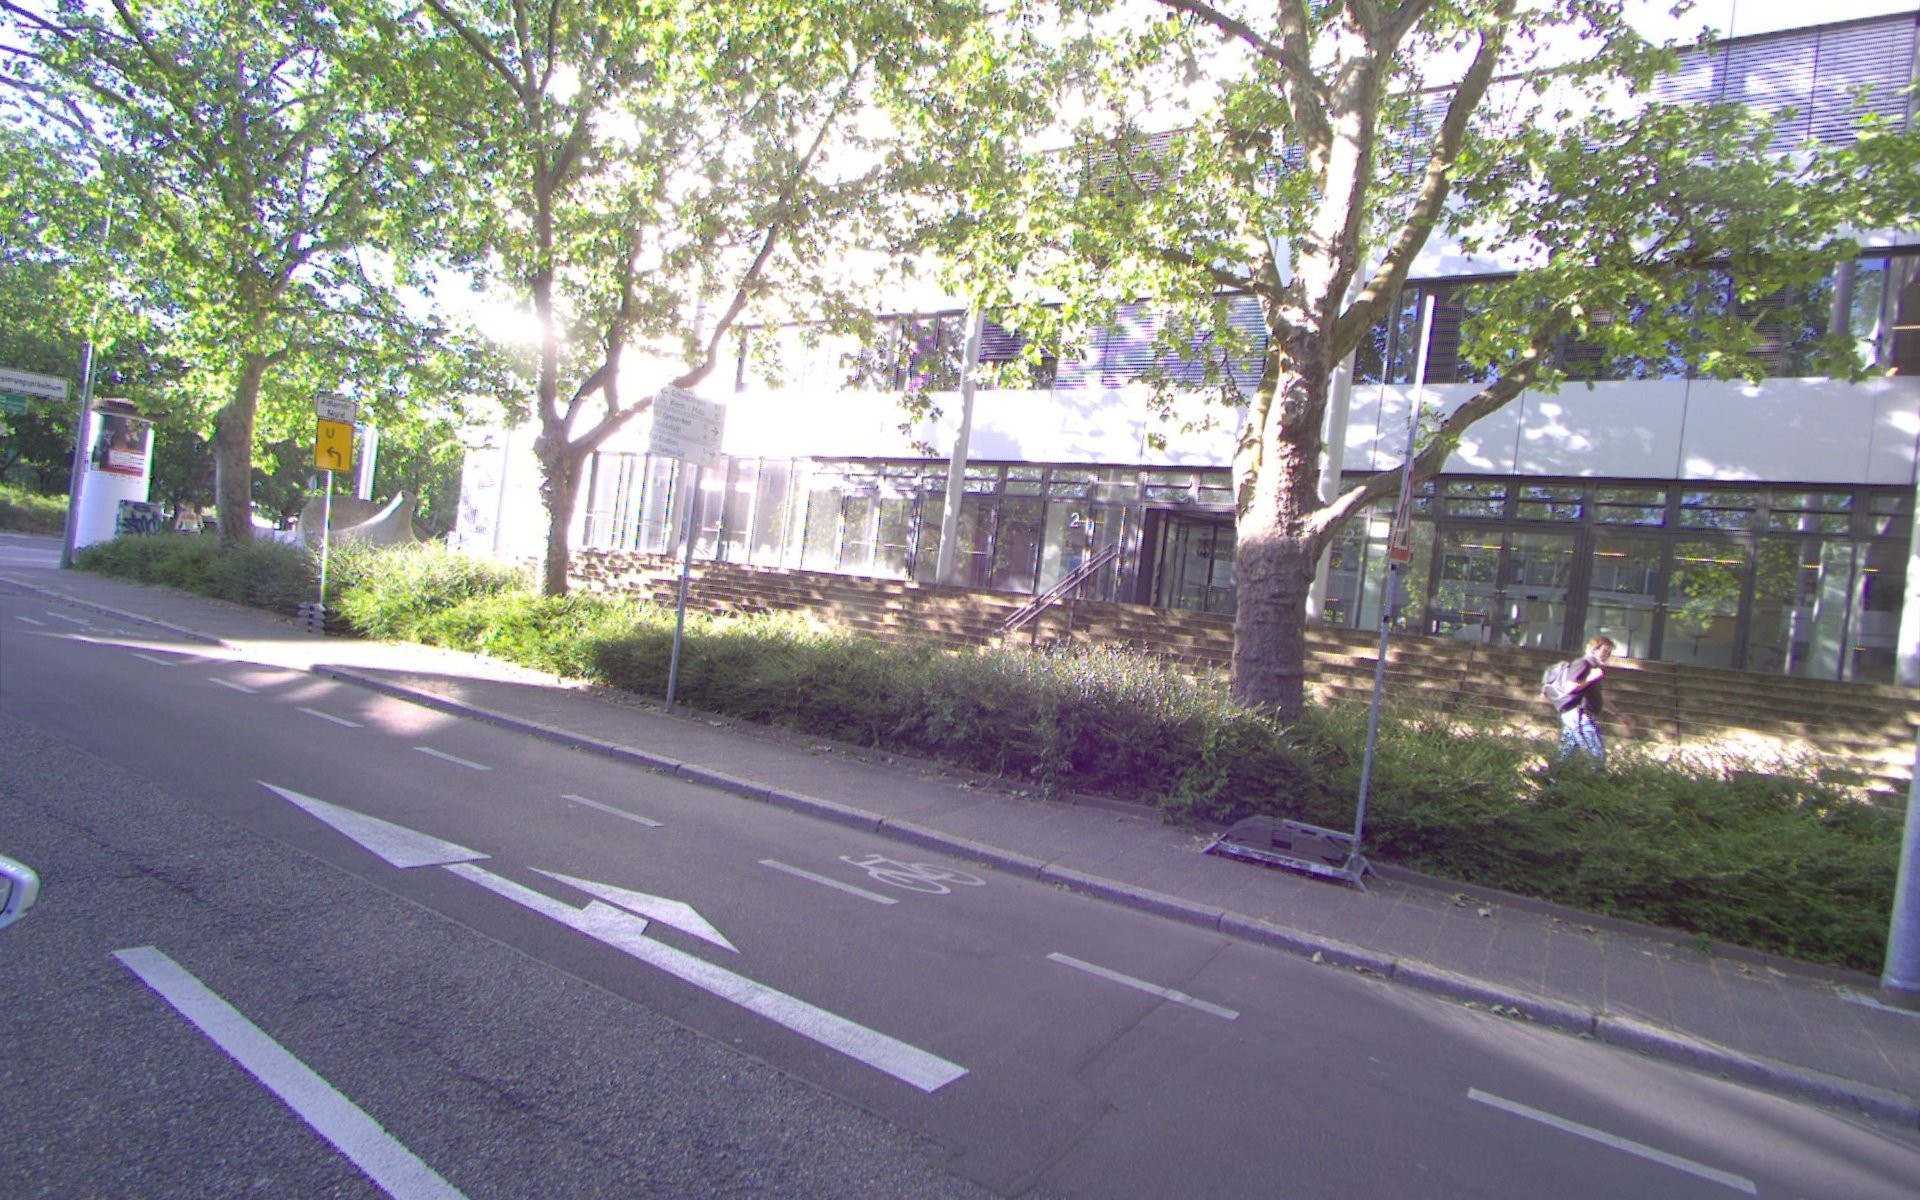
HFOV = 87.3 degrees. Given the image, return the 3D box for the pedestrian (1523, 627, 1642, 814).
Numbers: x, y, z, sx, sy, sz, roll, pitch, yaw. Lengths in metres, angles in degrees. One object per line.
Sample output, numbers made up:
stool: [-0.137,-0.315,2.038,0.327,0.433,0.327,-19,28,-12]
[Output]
pedestrian: [6.585,1.254,10.696,0.848,1.802,0.785,7,0,30]

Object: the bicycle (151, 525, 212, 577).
bicycle: [-20.012,-1.232,25.894,0.710,1.186,2.162,8,-2,-27]

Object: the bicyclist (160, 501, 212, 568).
bicyclist: [-20.012,-1.674,26.040,0.710,1.601,0.930,8,-1,-25]
